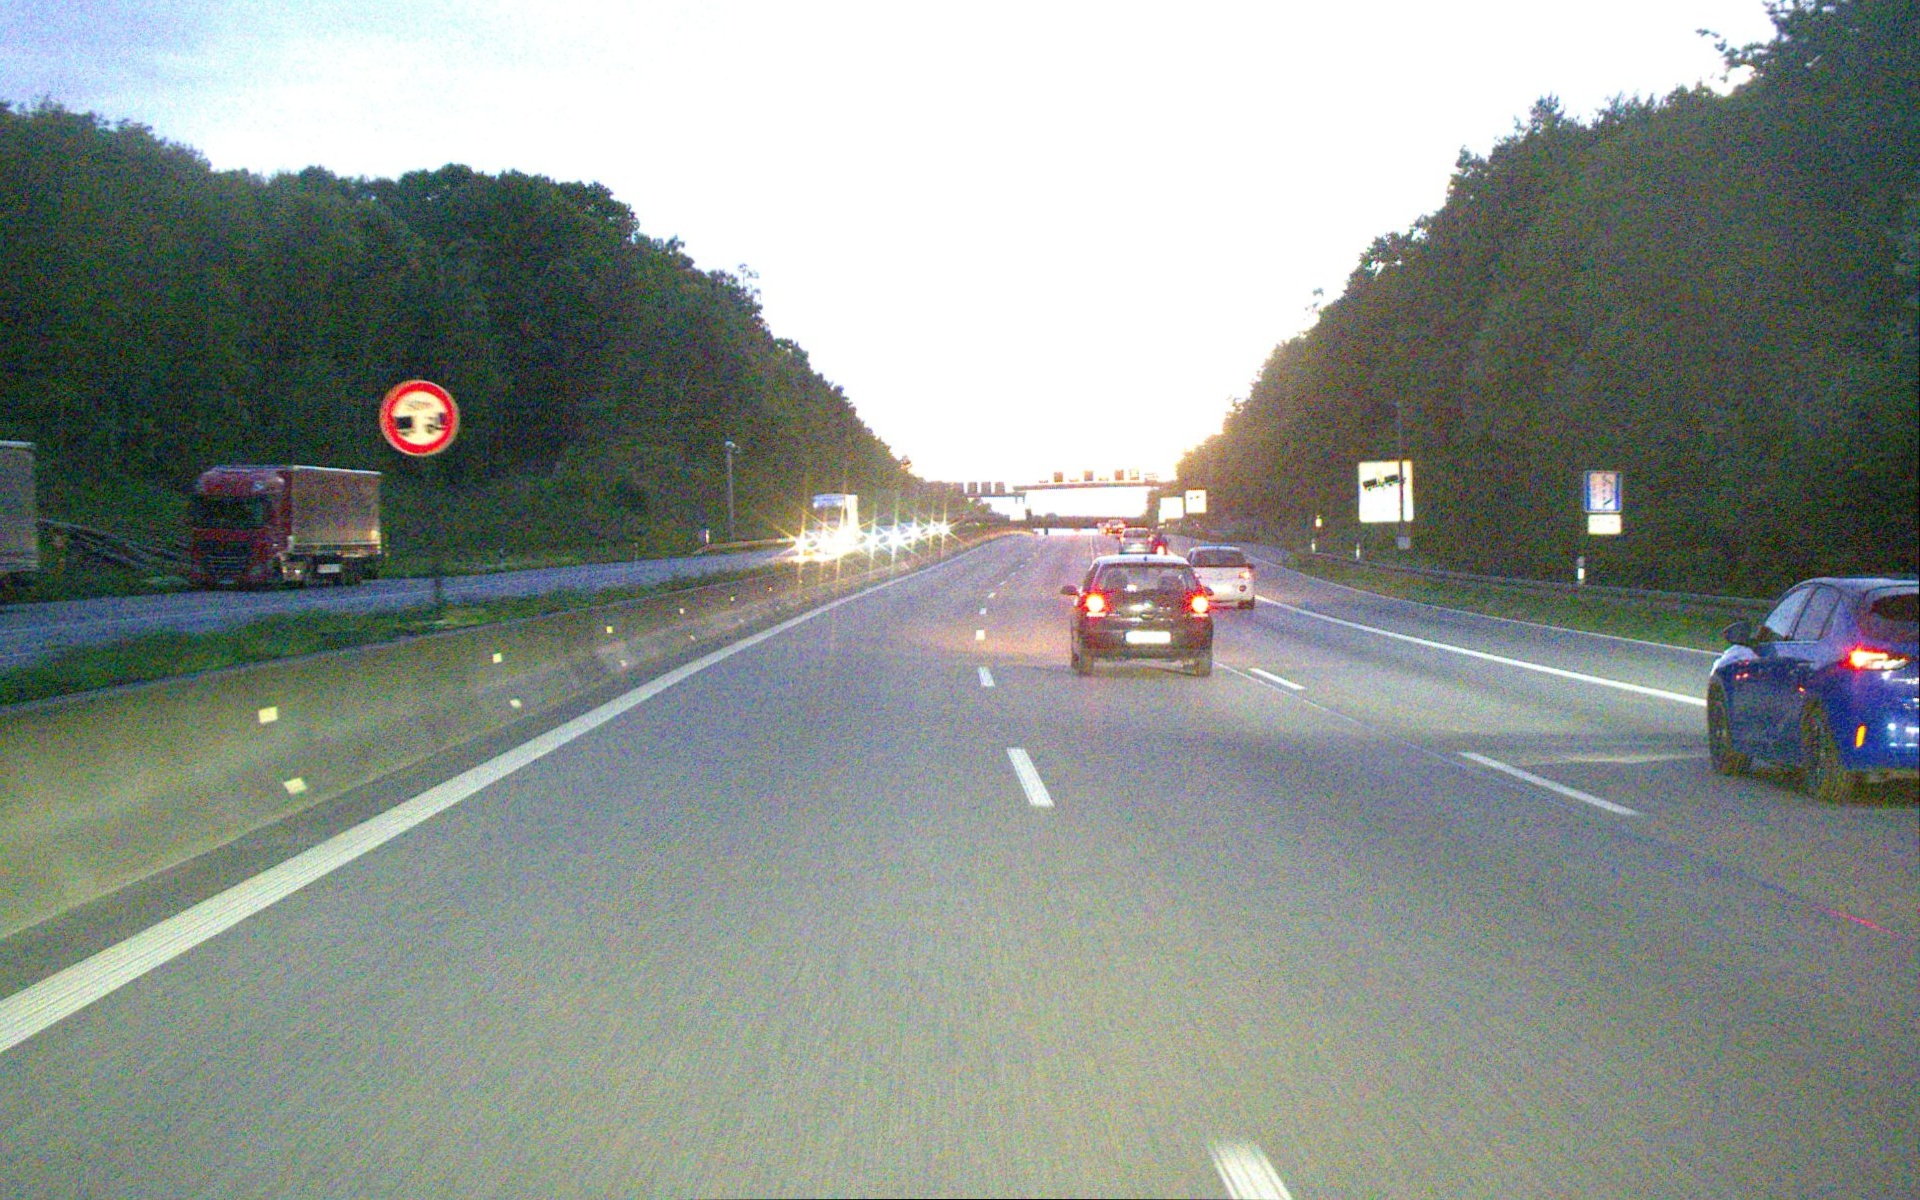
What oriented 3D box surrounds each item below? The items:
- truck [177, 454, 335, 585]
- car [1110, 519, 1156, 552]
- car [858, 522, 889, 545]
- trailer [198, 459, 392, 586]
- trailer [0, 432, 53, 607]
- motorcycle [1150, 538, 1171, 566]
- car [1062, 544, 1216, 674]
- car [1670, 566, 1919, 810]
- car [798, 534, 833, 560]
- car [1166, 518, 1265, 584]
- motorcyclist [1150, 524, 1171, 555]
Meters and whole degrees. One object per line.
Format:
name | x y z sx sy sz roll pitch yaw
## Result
truck | -22.875 -2.582 112.169 3.191 4.090 7.689 0 1 3
car | 8.513 -3.171 169.189 1.865 1.489 4.399 1 0 -2
car | -5.422 -4.187 216.118 1.850 1.377 4.645 0 1 0
trailer | -22.592 -2.594 117.764 3.191 4.090 14.182 0 1 3
trailer | -24.192 -1.846 77.669 3.191 4.090 13.739 0 1 3
motorcycle | 8.305 -1.977 142.468 0.830 1.130 2.476 -1 1 2
car | 2.165 0.101 42.571 1.704 1.504 4.232 1 0 1
car | 6.172 0.518 22.936 1.865 1.431 4.584 1 1 0
car | -8.491 -3.125 202.175 1.686 1.510 4.414 0 1 2
car | 6.052 -1.147 81.786 1.825 1.471 4.399 1 0 -2
motorcyclist | 8.298 -2.510 142.396 0.830 1.287 1.190 -1 0 2
